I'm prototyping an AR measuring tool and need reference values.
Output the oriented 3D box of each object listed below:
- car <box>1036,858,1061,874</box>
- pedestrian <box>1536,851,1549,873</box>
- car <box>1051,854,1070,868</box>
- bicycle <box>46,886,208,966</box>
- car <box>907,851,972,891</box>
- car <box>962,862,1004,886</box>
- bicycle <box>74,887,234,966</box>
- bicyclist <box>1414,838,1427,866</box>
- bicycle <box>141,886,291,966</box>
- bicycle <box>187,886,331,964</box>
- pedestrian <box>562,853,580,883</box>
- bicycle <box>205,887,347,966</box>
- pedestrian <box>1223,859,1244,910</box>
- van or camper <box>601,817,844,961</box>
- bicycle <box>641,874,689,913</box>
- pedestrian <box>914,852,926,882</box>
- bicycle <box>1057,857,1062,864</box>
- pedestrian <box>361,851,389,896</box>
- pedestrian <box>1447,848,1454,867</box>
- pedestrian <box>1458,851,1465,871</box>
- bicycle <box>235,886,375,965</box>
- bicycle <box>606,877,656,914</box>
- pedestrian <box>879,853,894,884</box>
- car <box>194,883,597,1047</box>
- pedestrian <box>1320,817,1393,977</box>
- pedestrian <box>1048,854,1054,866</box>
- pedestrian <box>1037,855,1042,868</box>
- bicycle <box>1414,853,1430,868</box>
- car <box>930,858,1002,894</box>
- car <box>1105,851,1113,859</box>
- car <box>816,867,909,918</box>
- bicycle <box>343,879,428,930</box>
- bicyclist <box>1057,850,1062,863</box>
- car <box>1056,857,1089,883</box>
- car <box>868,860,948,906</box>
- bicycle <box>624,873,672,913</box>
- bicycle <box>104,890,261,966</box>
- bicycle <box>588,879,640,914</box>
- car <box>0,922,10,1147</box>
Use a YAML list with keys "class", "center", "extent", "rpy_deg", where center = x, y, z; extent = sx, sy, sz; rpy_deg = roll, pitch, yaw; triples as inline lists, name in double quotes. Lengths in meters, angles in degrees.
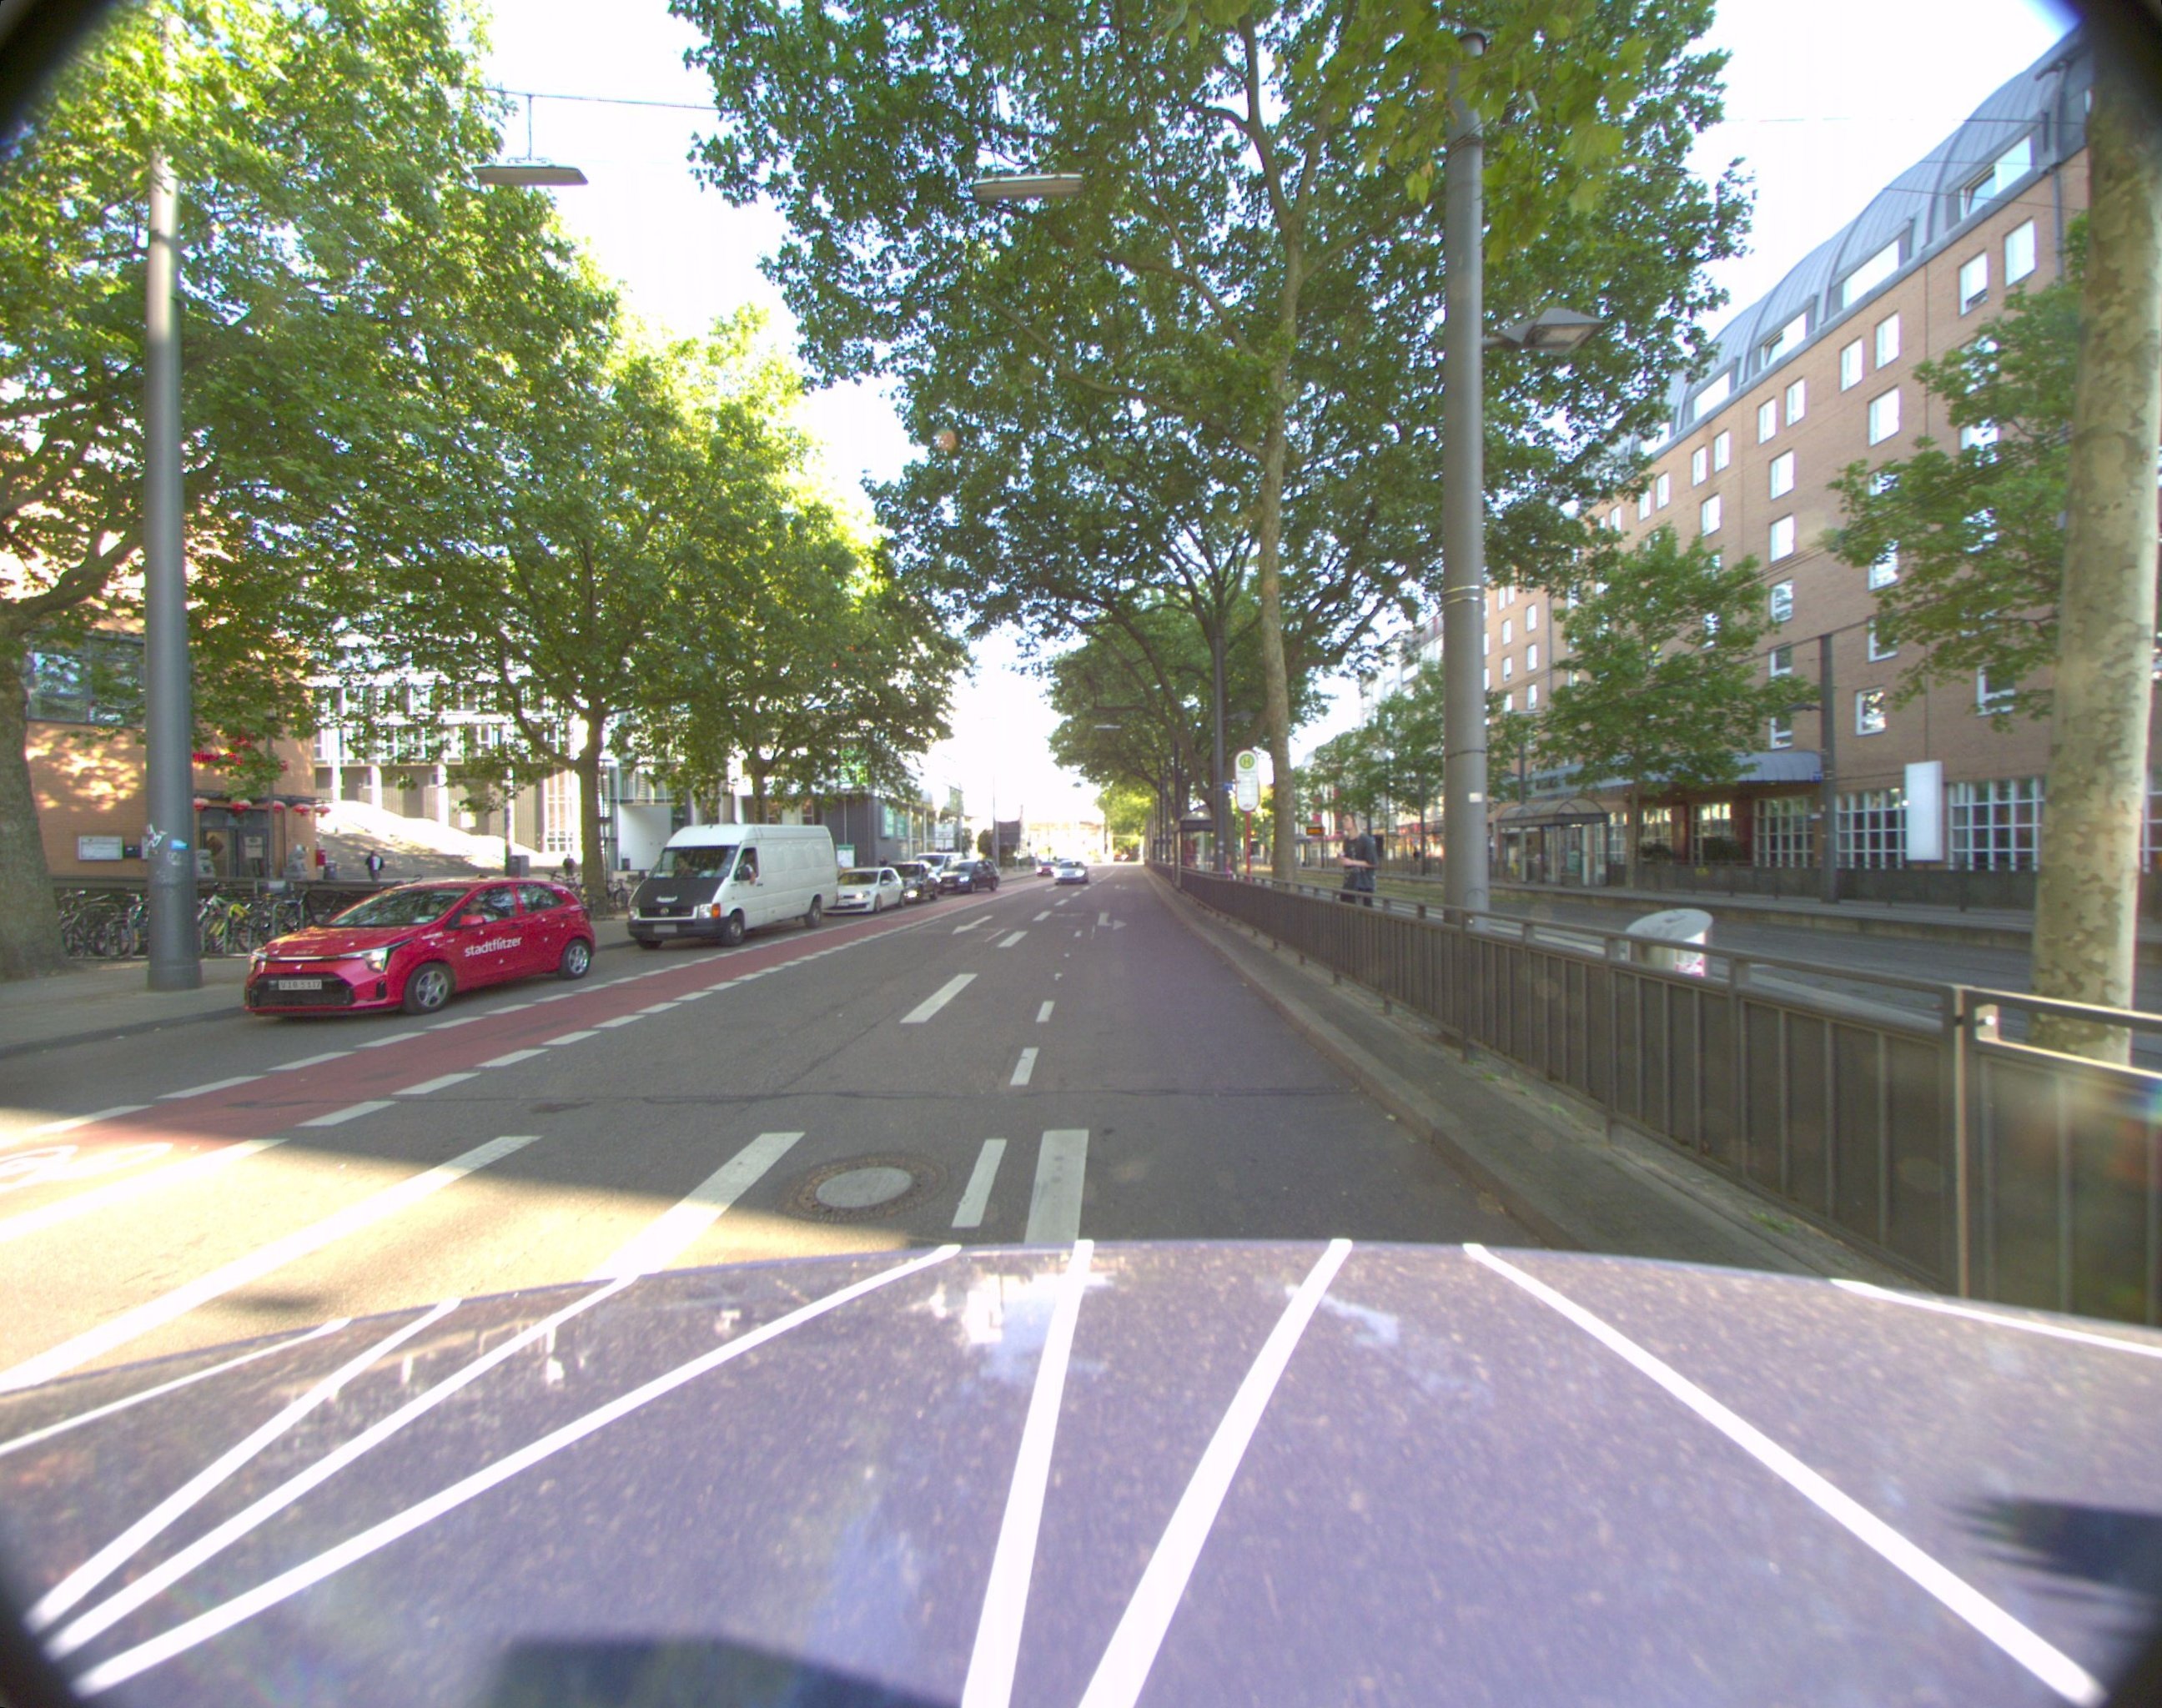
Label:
- class: "car"
  center: [-2.952, 1.117, 69.542]
  extent: [1.801, 1.369, 4.001]
  rpy_deg: [0, 0, 3]
- class: "pedestrian"
  center: [30.057, 0.544, 49.462]
  extent: [0.519, 1.427, 0.516]
  rpy_deg: [0, 1, 4]
- class: "car"
  center: [-2.292, 0.779, 86.112]
  extent: [1.801, 1.438, 4.001]
  rpy_deg: [0, 0, 3]
- class: "bicycle"
  center: [-16.385, 1.196, 13.131]
  extent: [0.435, 1.187, 1.850]
  rpy_deg: [0, 0, 1]
- class: "car"
  center: [-7.464, 0.861, 40.573]
  extent: [1.965, 1.983, 4.960]
  rpy_deg: [-1, 0, 7]
- class: "car"
  center: [-5.940, 1.175, 46.282]
  extent: [1.801, 1.369, 4.001]
  rpy_deg: [0, 0, 3]
- class: "bicycle"
  center: [-15.922, 1.201, 13.128]
  extent: [0.458, 1.187, 1.850]
  rpy_deg: [0, 0, 1]
- class: "bicyclist"
  center: [23.135, -0.161, 51.780]
  extent: [0.572, 1.893, 0.813]
  rpy_deg: [0, 1, 6]
- class: "bicycle"
  center: [-14.840, 1.197, 13.118]
  extent: [0.447, 1.187, 1.850]
  rpy_deg: [0, 0, 1]
- class: "bicycle"
  center: [-14.324, 1.198, 13.317]
  extent: [0.484, 1.187, 1.850]
  rpy_deg: [0, 0, 1]
- class: "pedestrian"
  center: [-26.453, 0.722, 39.418]
  extent: [0.719, 1.549, 0.639]
  rpy_deg: [-1, 1, -35]
- class: "bicycle"
  center: [-13.818, 1.202, 13.127]
  extent: [0.448, 1.187, 1.850]
  rpy_deg: [0, 0, 1]
- class: "pedestrian"
  center: [3.935, 0.777, 19.615]
  extent: [0.500, 1.308, 0.419]
  rpy_deg: [0, 1, 8]
- class: "van or camper"
  center: [-7.529, 0.630, 17.052]
  extent: [1.998, 2.563, 6.575]
  rpy_deg: [-2, 0, 3]
- class: "bicycle"
  center: [-13.569, 1.267, 24.834]
  extent: [0.522, 1.187, 1.850]
  rpy_deg: [0, 0, 1]
- class: "pedestrian"
  center: [-9.592, 0.773, 45.256]
  extent: [0.627, 1.758, 0.451]
  rpy_deg: [-1, 1, 2]
- class: "bicycle"
  center: [-2.916, 0.834, 102.615]
  extent: [0.580, 0.879, 1.671]
  rpy_deg: [-1, 0, 1]
- class: "pedestrian"
  center: [-32.187, 0.881, 34.648]
  extent: [0.878, 2.025, 0.584]
  rpy_deg: [-1, 1, -43]
- class: "pedestrian"
  center: [29.083, 0.273, 59.757]
  extent: [0.438, 1.497, 0.659]
  rpy_deg: [0, 1, 23]
- class: "pedestrian"
  center: [29.701, 0.547, 59.348]
  extent: [0.438, 1.511, 0.659]
  rpy_deg: [0, 1, 23]
- class: "bicycle"
  center: [-13.315, 1.192, 13.121]
  extent: [0.482, 1.187, 1.850]
  rpy_deg: [0, 0, 1]
- class: "bicycle"
  center: [-14.656, 1.336, 24.812]
  extent: [0.522, 1.088, 1.797]
  rpy_deg: [0, 0, 1]
- class: "pedestrian"
  center: [-11.412, 0.852, 44.583]
  extent: [0.715, 1.758, 0.526]
  rpy_deg: [-1, 1, 2]
- class: "car"
  center: [-7.960, 1.176, 9.359]
  extent: [1.606, 1.449, 3.651]
  rpy_deg: [-1, 0, 0]
- class: "pedestrian"
  center: [3.356, 0.498, 9.293]
  extent: [0.623, 1.873, 0.606]
  rpy_deg: [-2, 3, -8]
- class: "pedestrian"
  center: [-3.882, 0.776, 98.185]
  extent: [0.648, 1.644, 0.643]
  rpy_deg: [-1, 1, 1]
- class: "pedestrian"
  center: [-5.195, 0.973, 94.549]
  extent: [0.611, 1.644, 0.583]
  rpy_deg: [-1, 1, 1]
- class: "bicycle"
  center: [23.210, 0.431, 51.698]
  extent: [0.451, 0.998, 1.753]
  rpy_deg: [-1, 0, 6]
- class: "car"
  center: [-5.525, 1.014, 37.109]
  extent: [1.964, 1.610, 4.335]
  rpy_deg: [-1, 0, 14]
- class: "car"
  center: [7.682, 0.274, 205.162]
  extent: [1.998, 2.002, 4.001]
  rpy_deg: [0, 0, 4]
- class: "car"
  center: [-7.046, 1.187, 24.941]
  extent: [1.682, 1.420, 4.001]
  rpy_deg: [-1, 0, 3]
- class: "bicycle"
  center: [-17.880, 1.285, 19.585]
  extent: [0.517, 1.187, 1.790]
  rpy_deg: [0, 0, 1]
- class: "bicyclist"
  center: [-2.908, 0.296, 102.558]
  extent: [0.673, 1.707, 0.715]
  rpy_deg: [-1, 1, 1]
- class: "car"
  center: [-0.468, 0.940, 46.075]
  extent: [1.733, 1.432, 4.000]
  rpy_deg: [-2, 0, 2]
- class: "car"
  center: [-6.693, 1.083, 29.893]
  extent: [1.818, 1.610, 4.229]
  rpy_deg: [-1, 0, 5]
- class: "bicycle"
  center: [-14.112, 1.245, 24.813]
  extent: [0.495, 1.187, 1.850]
  rpy_deg: [0, 0, 1]
- class: "bicycle"
  center: [-15.423, 1.234, 13.126]
  extent: [0.485, 1.118, 1.850]
  rpy_deg: [0, 0, 1]
- class: "bicycle"
  center: [-15.217, 1.363, 24.787]
  extent: [0.516, 1.027, 1.850]
  rpy_deg: [0, 0, 1]
- class: "car"
  center: [-7.989, 1.198, 2.899]
  extent: [1.743, 1.476, 4.251]
  rpy_deg: [-1, 0, 0]
